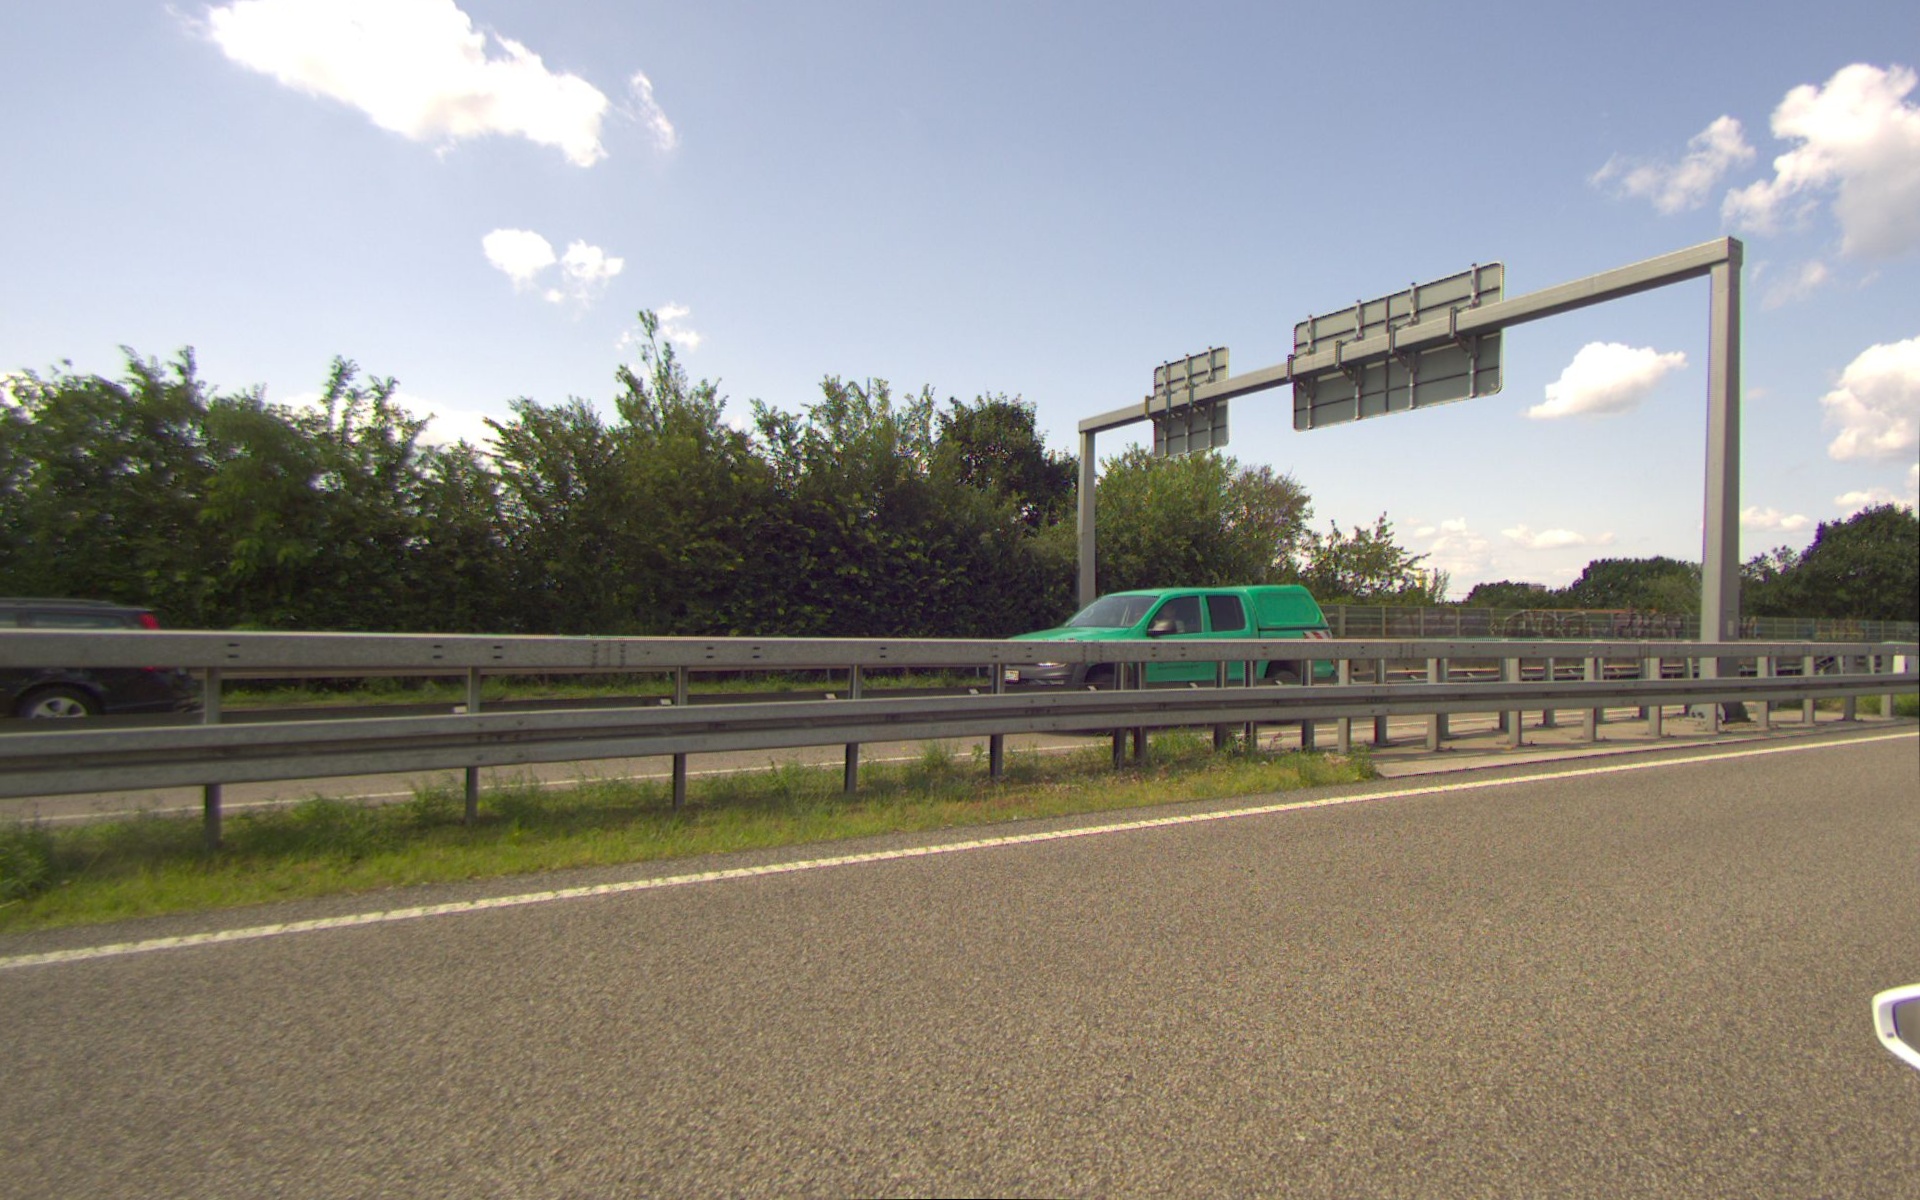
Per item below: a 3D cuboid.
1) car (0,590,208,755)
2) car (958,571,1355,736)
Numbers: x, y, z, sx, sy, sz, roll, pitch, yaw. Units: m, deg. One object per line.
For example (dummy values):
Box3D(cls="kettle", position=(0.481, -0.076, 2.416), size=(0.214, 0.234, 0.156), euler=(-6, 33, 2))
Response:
Box3D(cls="car", position=(-10.611, 0.696, 10.240), size=(4.503, 1.596, 1.693), euler=(2, 0, -31))
Box3D(cls="car", position=(2.777, 0.672, 13.722), size=(5.330, 1.888, 1.984), euler=(2, 0, -31))
